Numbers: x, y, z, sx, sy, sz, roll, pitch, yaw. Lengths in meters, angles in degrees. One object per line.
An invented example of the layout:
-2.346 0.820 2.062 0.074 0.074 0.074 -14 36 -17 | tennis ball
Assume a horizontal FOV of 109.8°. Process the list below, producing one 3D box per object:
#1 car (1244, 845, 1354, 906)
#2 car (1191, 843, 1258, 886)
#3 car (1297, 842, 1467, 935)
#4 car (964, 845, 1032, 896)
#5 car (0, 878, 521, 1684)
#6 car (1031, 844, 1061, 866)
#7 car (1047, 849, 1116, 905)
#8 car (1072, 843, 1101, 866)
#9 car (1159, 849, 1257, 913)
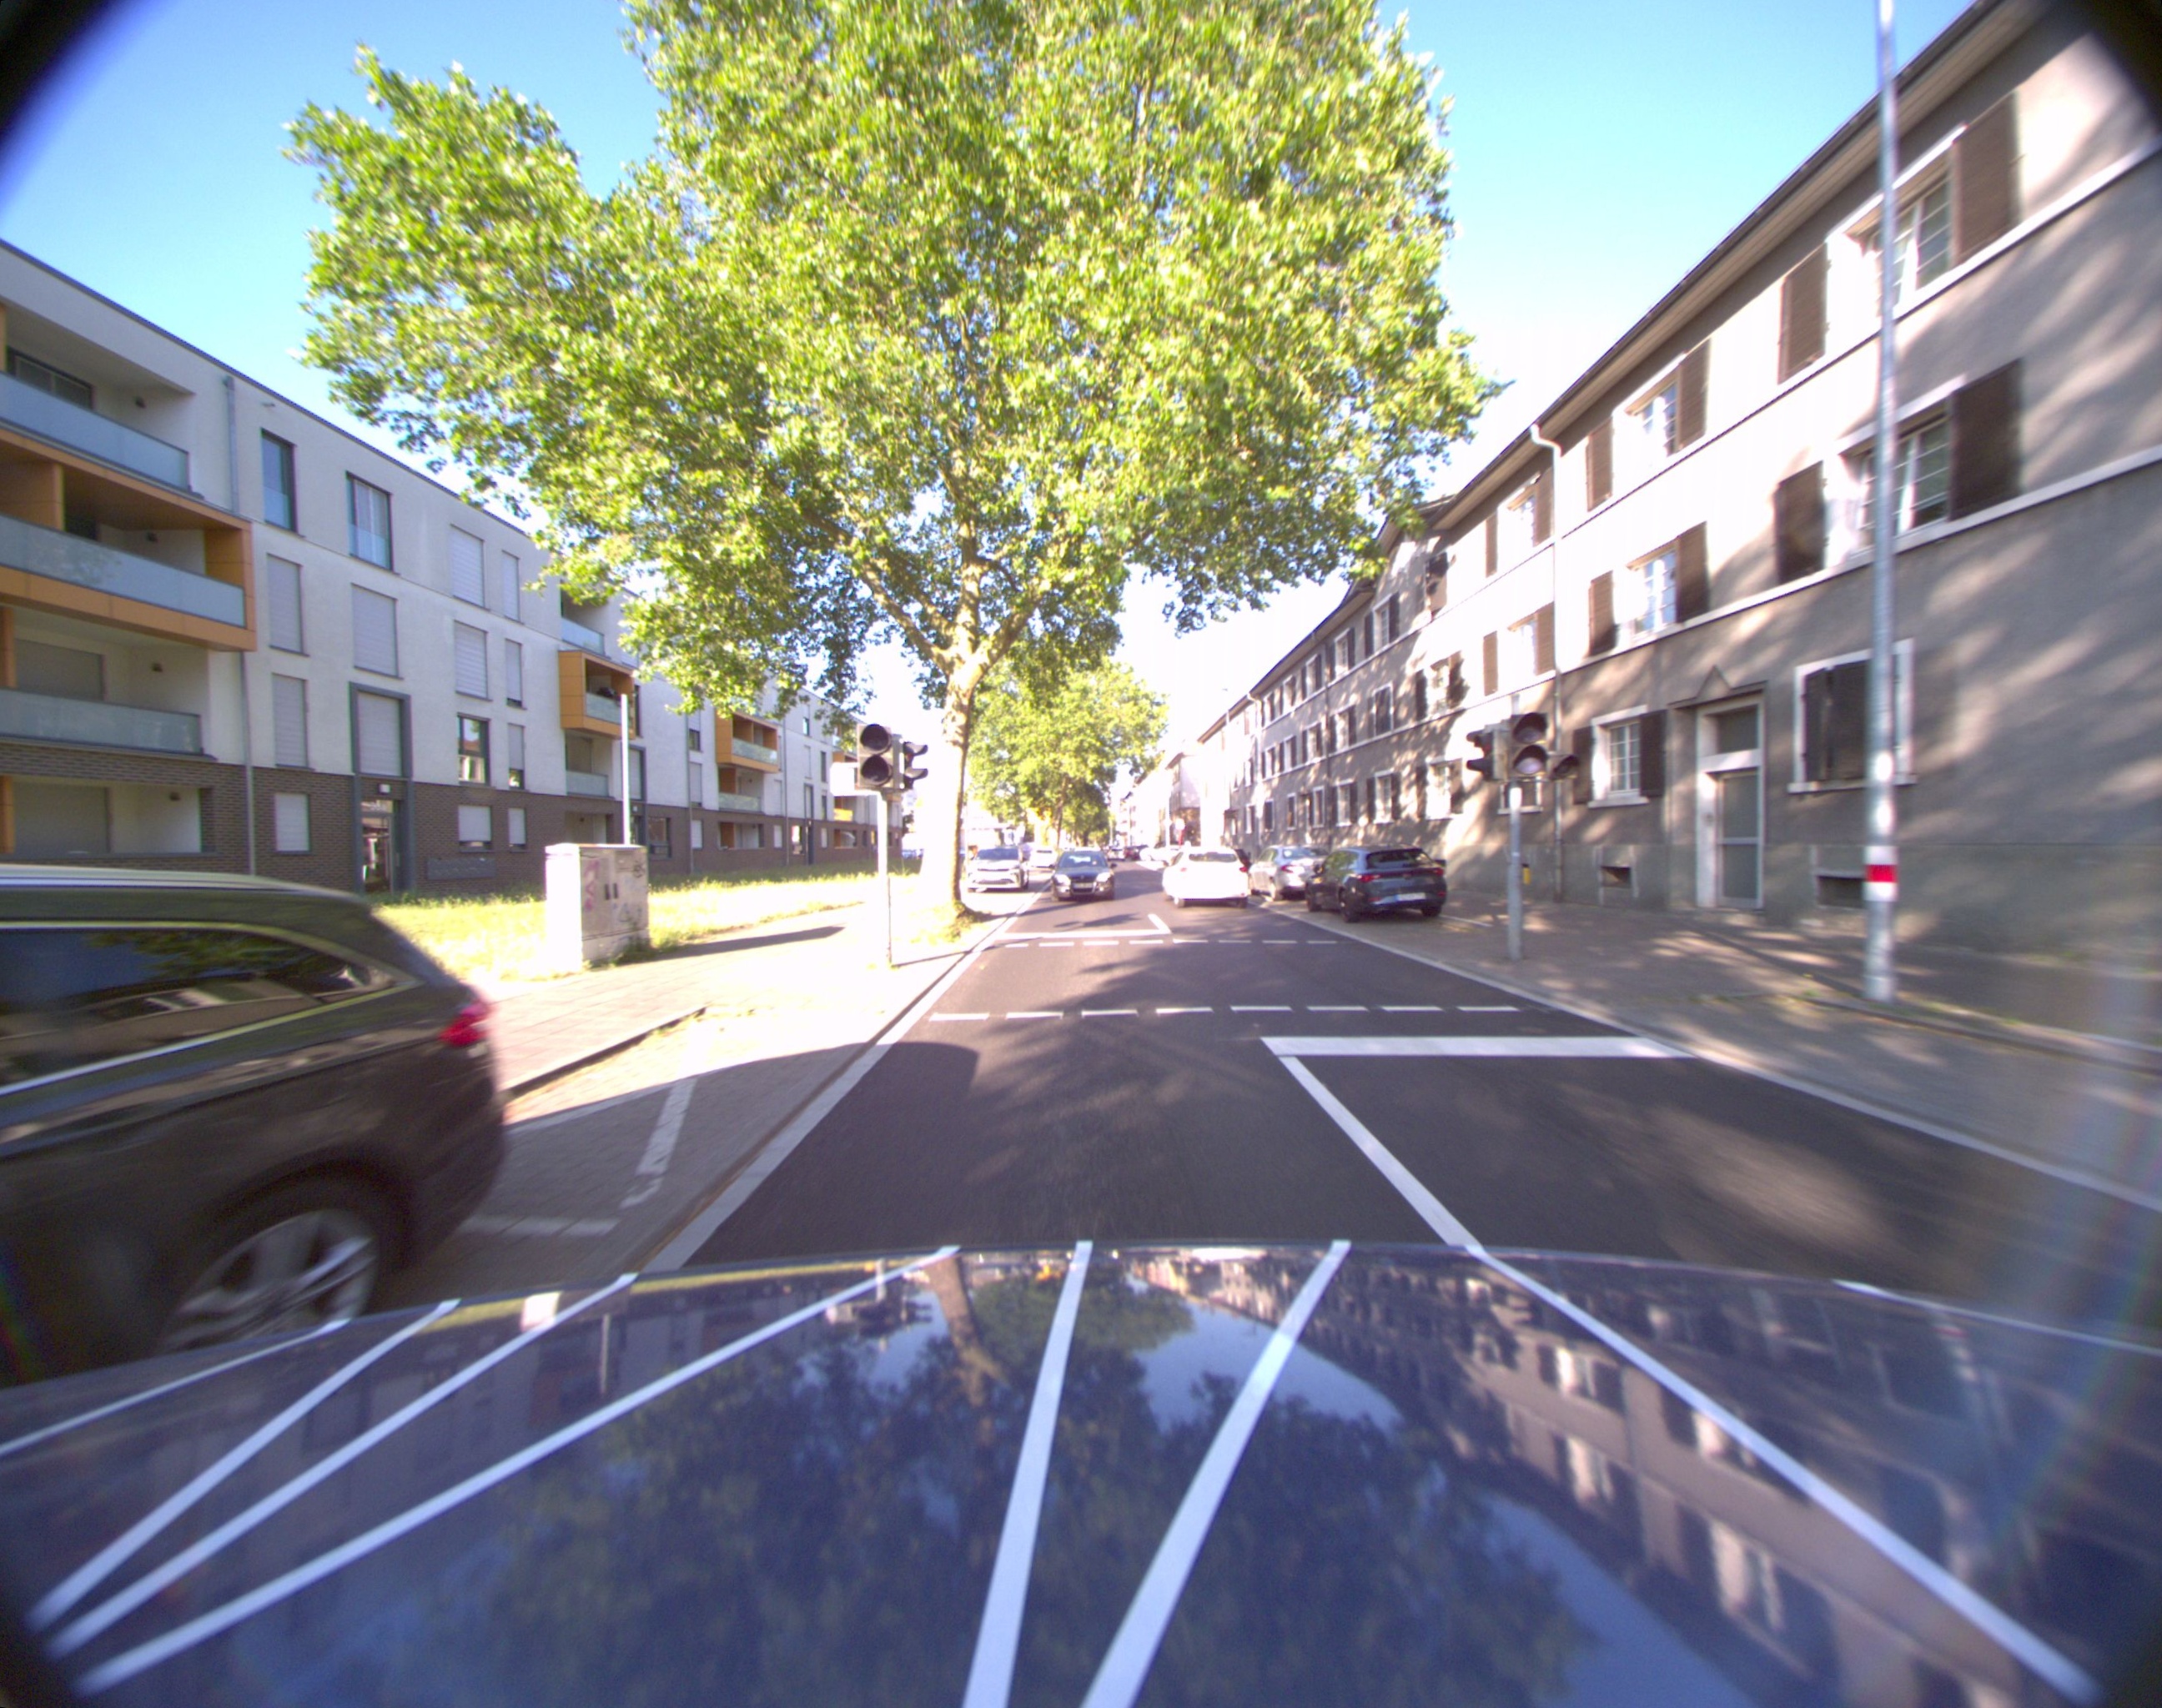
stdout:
5.990 0.526 21.351 1.870 1.475 4.085 -1 1 0 | car
5.861 0.390 31.424 1.870 1.603 4.085 -2 1 -1 | car
5.855 0.574 15.356 1.869 1.475 4.086 -4 1 2 | car
-2.797 0.496 26.497 1.870 1.603 4.086 0 1 1 | car
-3.014 0.892 0.456 1.704 1.472 4.696 2 1 3 | car
-2.492 0.056 54.608 1.885 1.475 3.999 0 1 1 | car
-0.042 0.608 22.866 1.870 1.471 4.085 -1 1 -1 | car
0.408 0.033 54.400 1.998 1.565 3.999 0 1 1 | car
3.222 0.624 20.059 1.870 1.475 4.085 1 1 0 | car
